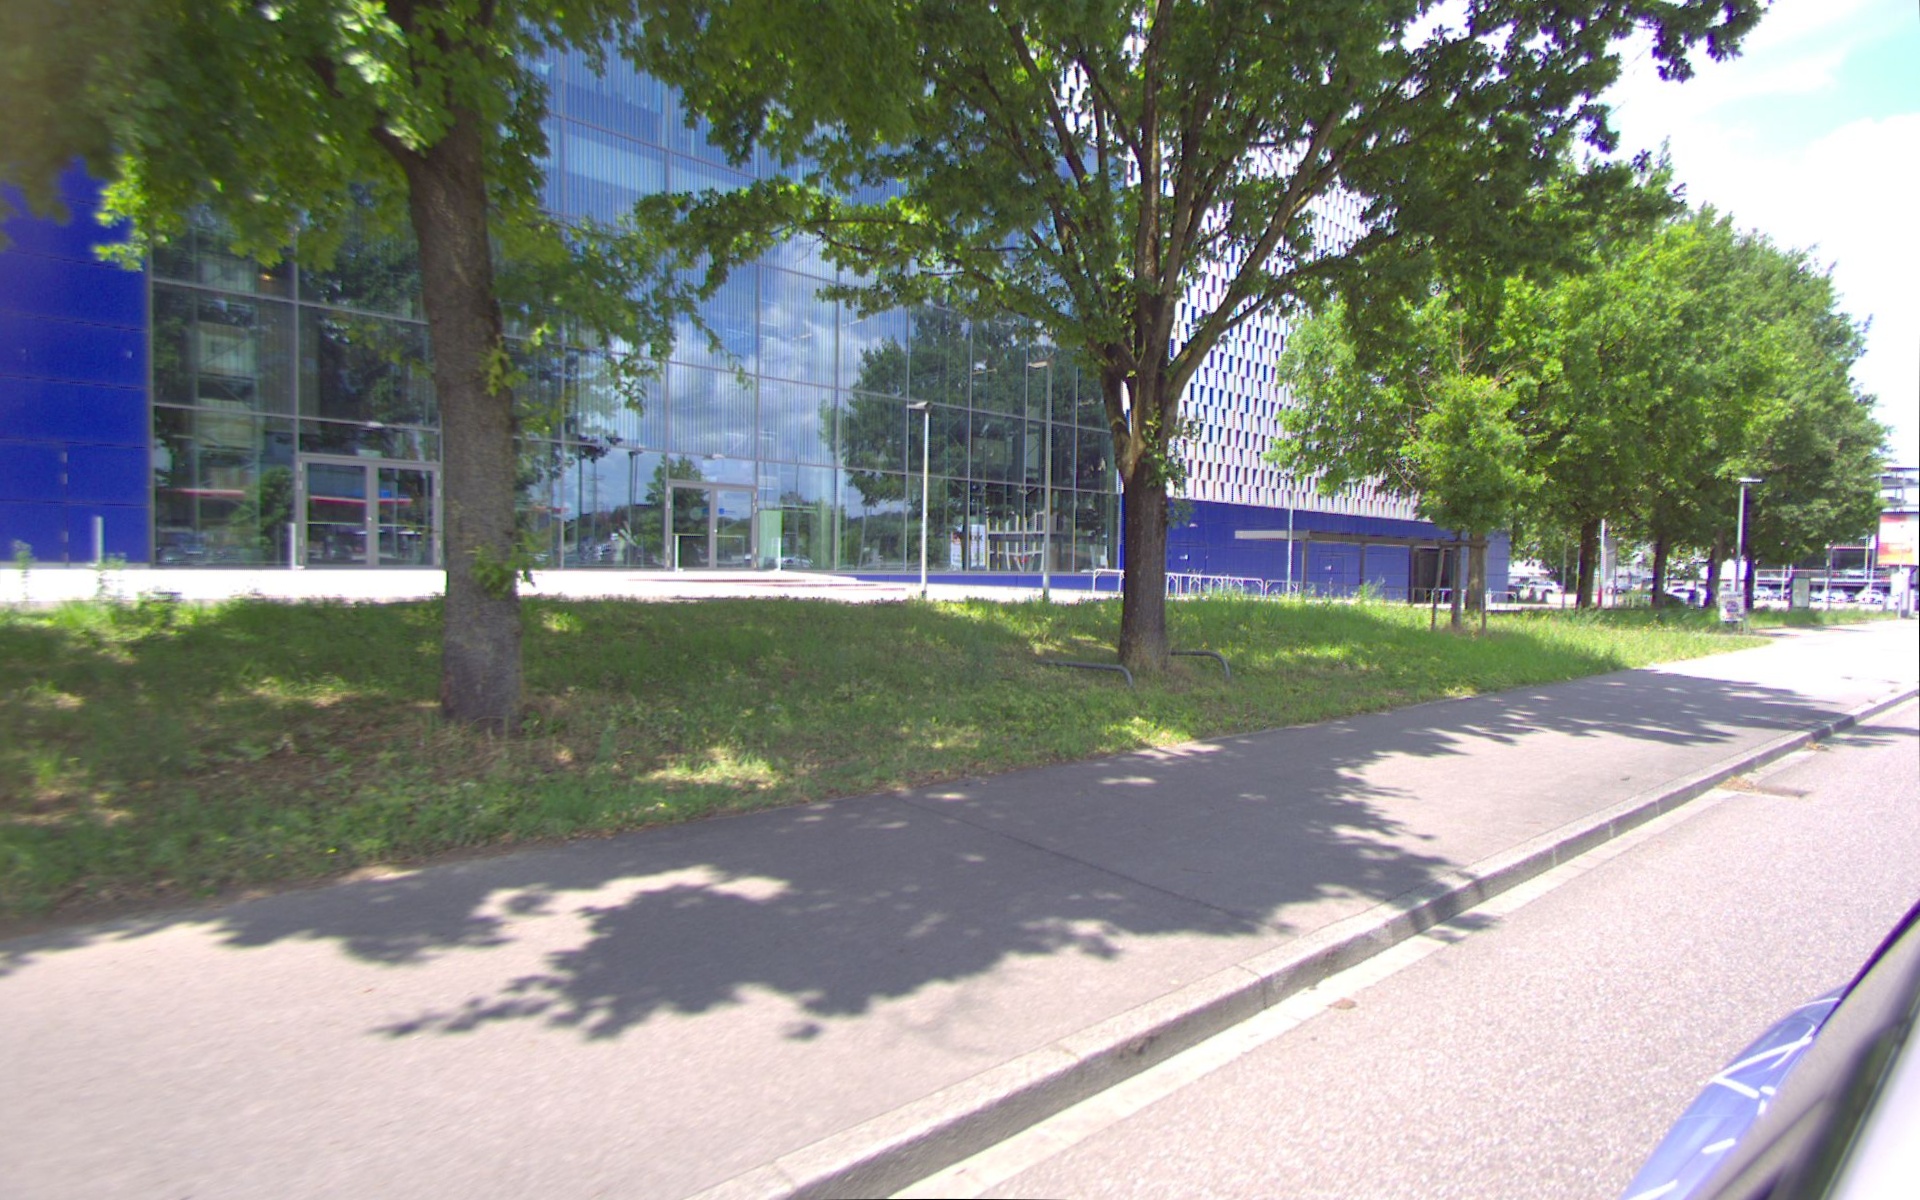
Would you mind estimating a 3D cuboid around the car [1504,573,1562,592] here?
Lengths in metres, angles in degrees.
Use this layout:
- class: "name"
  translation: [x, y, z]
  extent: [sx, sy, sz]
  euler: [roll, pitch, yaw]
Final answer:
- class: "car"
  translation: [57.256, -1.748, 101.116]
  extent: [4.687, 1.651, 1.968]
  euler: [4, 3, 44]

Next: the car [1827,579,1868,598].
- class: "car"
  translation: [80.384, -1.058, 91.670]
  extent: [3.923, 1.593, 1.843]
  euler: [0, 2, -34]

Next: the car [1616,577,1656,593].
- class: "car"
  translation: [69.274, -1.516, 103.656]
  extent: [3.920, 1.571, 1.800]
  euler: [1, 2, -30]

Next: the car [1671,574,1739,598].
- class: "car"
  translation: [57.991, -1.120, 78.787]
  extent: [1.827, 1.712, 3.992]
  euler: [0, 3, -44]
